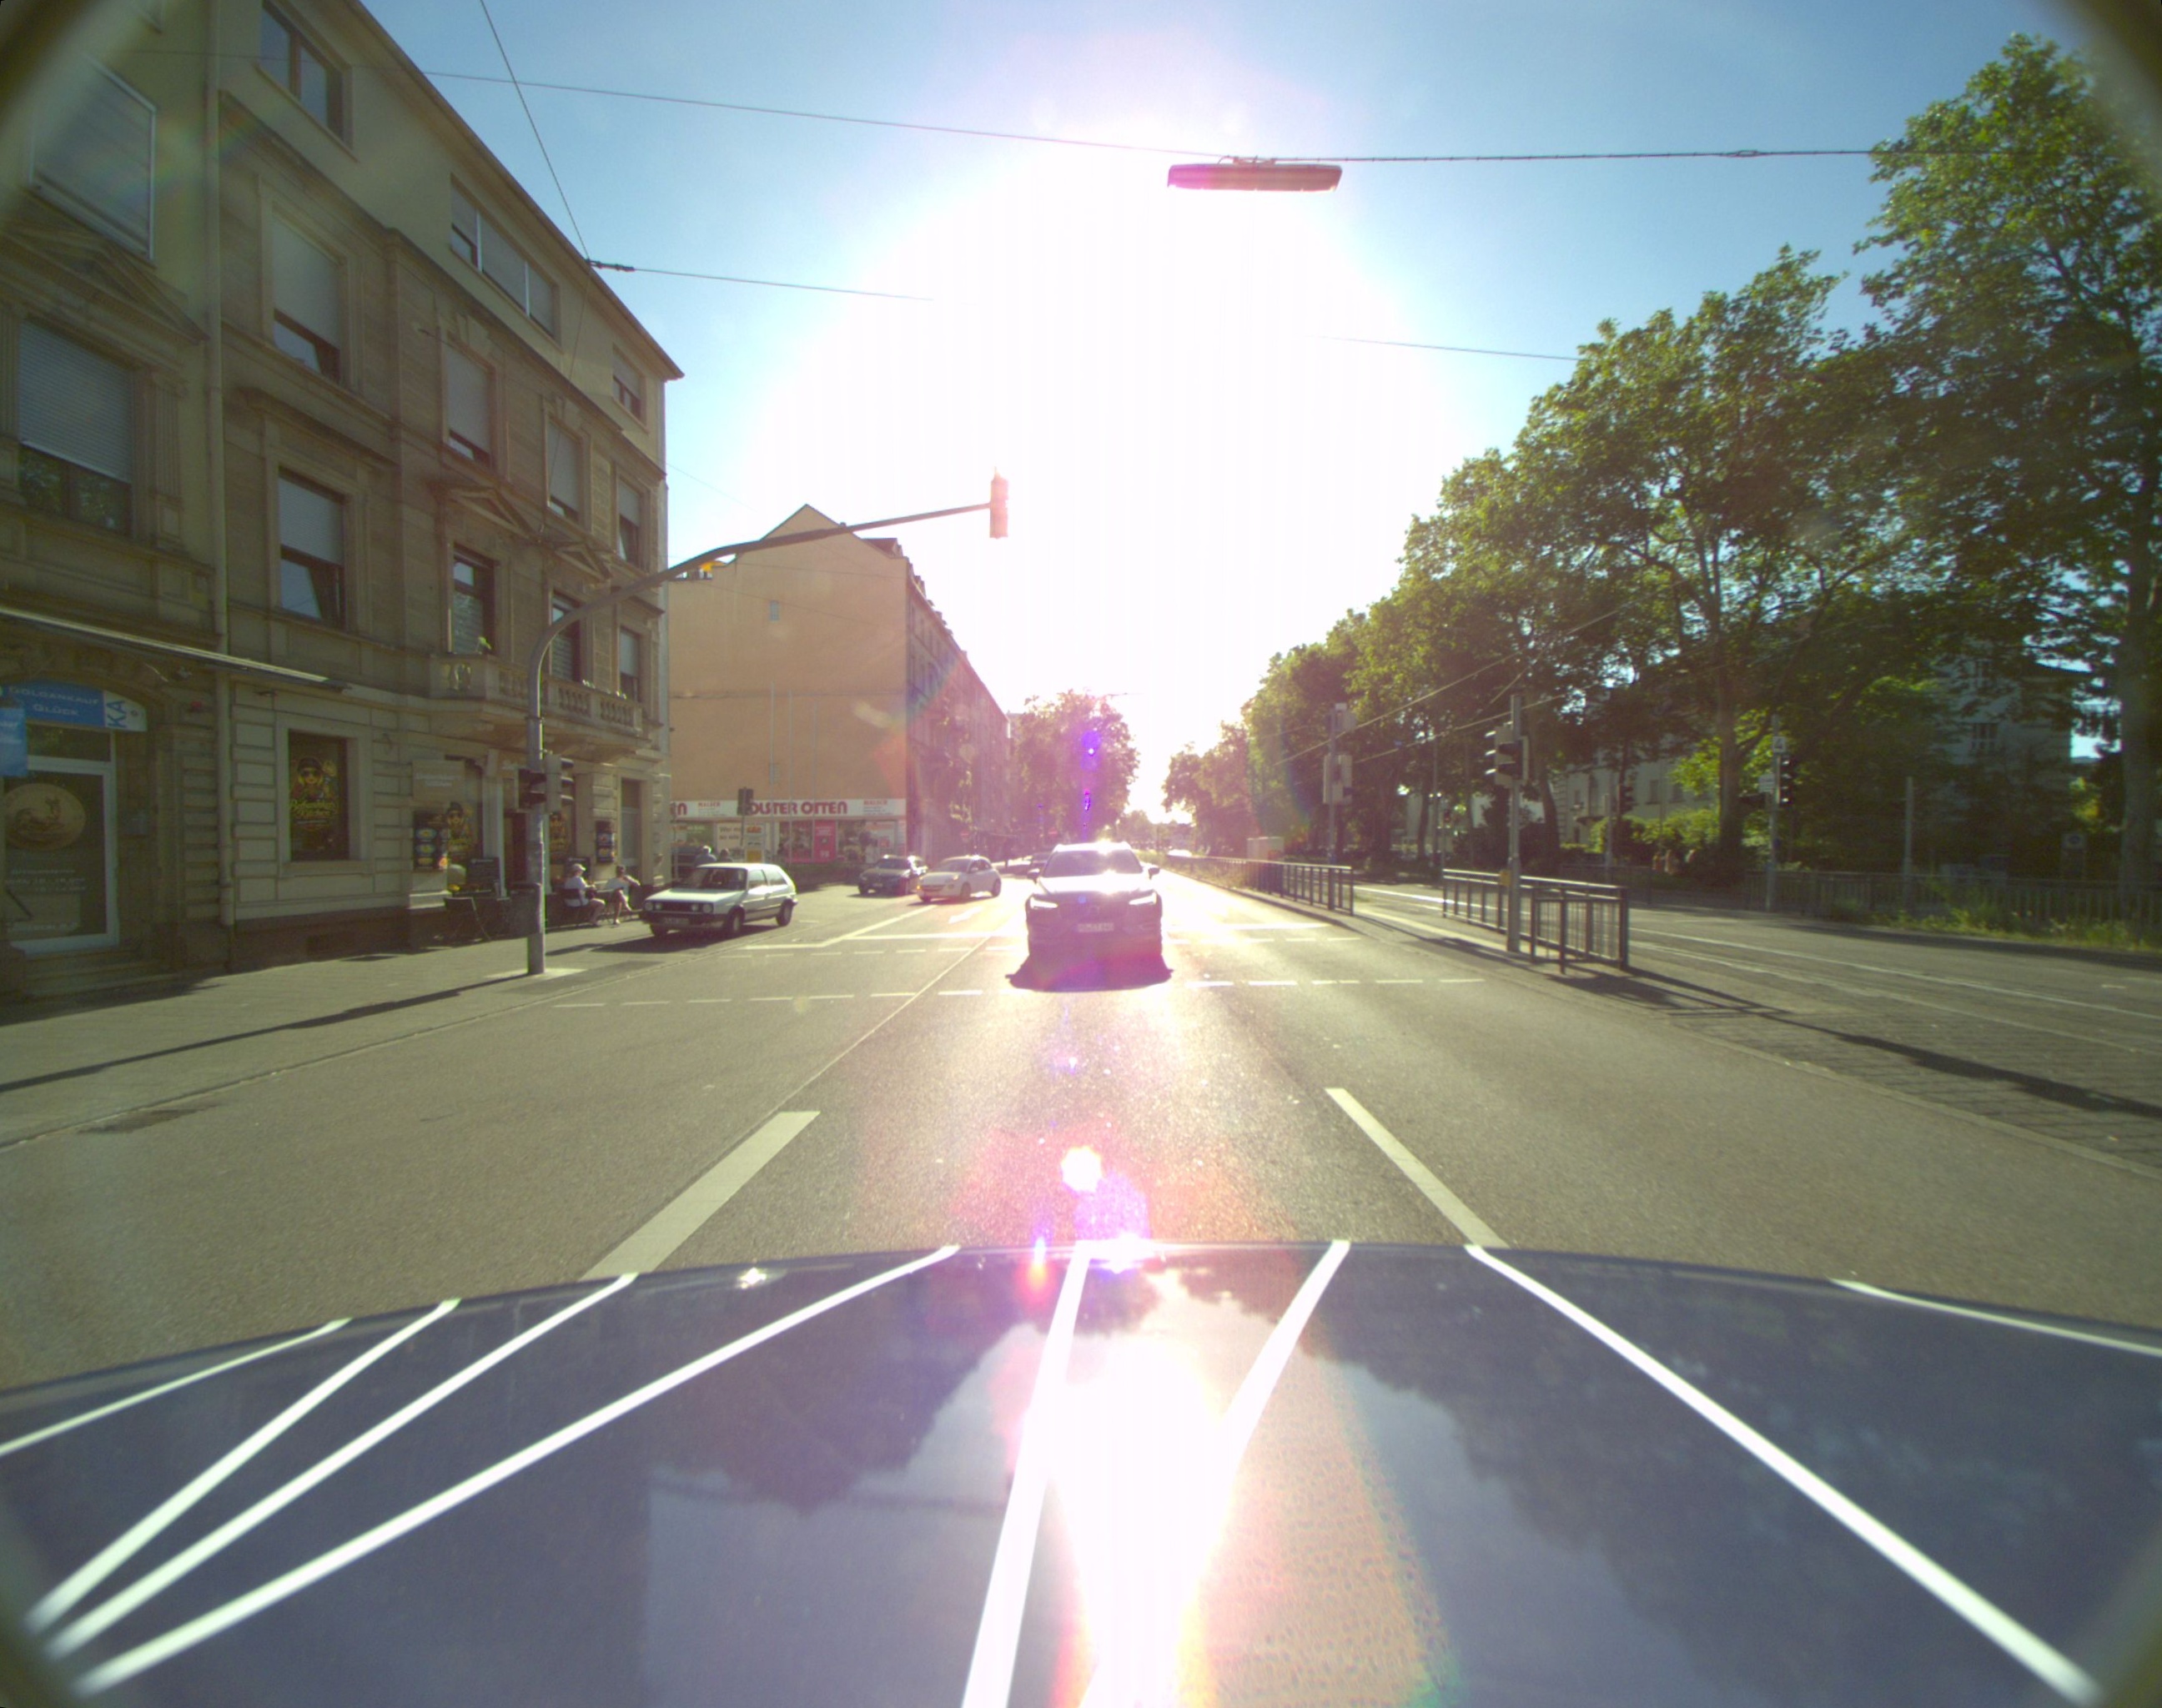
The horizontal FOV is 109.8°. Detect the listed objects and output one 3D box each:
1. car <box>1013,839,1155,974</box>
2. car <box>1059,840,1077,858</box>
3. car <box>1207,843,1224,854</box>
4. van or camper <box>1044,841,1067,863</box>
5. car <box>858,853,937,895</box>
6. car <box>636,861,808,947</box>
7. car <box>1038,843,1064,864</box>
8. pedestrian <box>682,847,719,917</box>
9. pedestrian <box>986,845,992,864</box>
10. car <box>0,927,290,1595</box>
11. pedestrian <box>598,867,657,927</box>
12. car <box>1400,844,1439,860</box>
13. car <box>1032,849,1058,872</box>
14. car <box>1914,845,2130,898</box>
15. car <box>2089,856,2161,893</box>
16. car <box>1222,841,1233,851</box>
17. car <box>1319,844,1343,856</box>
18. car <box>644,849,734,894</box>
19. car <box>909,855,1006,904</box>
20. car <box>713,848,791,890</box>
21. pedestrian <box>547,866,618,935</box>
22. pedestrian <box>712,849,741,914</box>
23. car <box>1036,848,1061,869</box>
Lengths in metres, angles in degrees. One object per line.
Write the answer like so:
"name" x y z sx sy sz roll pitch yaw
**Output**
"car" 0.146 0.681 12.466 1.876 1.788 4.633 -1 1 3
"car" -1.749 -0.734 105.013 2.078 2.420 5.856 -1 1 2
"car" 20.152 -0.831 114.103 1.688 1.490 4.342 -1 1 -1
"van or camper" -2.326 -0.200 70.971 1.888 2.002 5.094 0 1 1
"car" -7.380 0.747 30.993 1.837 1.478 4.734 2 1 3
"car" -7.353 0.940 16.013 1.566 1.407 4.004 3 1 2
"car" -2.544 -0.106 65.450 1.868 1.754 4.000 0 1 2
"pedestrian" -10.024 0.723 20.043 0.674 1.796 0.530 2 1 2
"pedestrian" -8.627 0.054 70.923 0.469 1.822 0.516 0 1 2
"car" -3.516 1.039 0.265 1.701 1.519 4.381 -1 1 3
"pedestrian" -10.116 0.946 16.968 0.903 1.274 0.655 2 1 -3
"car" 30.208 -0.198 67.999 1.644 1.316 4.461 2 1 2
"car" -2.630 0.418 55.778 1.644 1.509 3.999 -3 1 0
"car" 29.298 0.488 23.893 1.673 1.501 4.144 0 1 1
"car" 44.546 0.797 31.009 3.996 1.410 2.000 -1 1 2
"car" 31.319 -1.682 162.375 1.998 2.002 4.002 -3 0 6
"car" 30.788 -0.536 93.794 1.801 1.464 4.000 -1 1 2
"car" -14.173 0.583 27.680 1.562 1.477 3.394 -1 1 -2
"car" -4.228 0.851 26.610 1.605 1.446 3.786 -2 2 21
"car" -14.188 0.598 33.039 1.749 1.635 3.998 0 1 -2
"pedestrian" -10.180 0.931 15.550 1.016 1.364 0.655 0 1 -3
"pedestrian" -9.356 0.730 20.081 0.551 1.698 0.388 0 1 5
"car" -2.560 0.335 60.228 1.743 1.509 3.999 -3 1 0
